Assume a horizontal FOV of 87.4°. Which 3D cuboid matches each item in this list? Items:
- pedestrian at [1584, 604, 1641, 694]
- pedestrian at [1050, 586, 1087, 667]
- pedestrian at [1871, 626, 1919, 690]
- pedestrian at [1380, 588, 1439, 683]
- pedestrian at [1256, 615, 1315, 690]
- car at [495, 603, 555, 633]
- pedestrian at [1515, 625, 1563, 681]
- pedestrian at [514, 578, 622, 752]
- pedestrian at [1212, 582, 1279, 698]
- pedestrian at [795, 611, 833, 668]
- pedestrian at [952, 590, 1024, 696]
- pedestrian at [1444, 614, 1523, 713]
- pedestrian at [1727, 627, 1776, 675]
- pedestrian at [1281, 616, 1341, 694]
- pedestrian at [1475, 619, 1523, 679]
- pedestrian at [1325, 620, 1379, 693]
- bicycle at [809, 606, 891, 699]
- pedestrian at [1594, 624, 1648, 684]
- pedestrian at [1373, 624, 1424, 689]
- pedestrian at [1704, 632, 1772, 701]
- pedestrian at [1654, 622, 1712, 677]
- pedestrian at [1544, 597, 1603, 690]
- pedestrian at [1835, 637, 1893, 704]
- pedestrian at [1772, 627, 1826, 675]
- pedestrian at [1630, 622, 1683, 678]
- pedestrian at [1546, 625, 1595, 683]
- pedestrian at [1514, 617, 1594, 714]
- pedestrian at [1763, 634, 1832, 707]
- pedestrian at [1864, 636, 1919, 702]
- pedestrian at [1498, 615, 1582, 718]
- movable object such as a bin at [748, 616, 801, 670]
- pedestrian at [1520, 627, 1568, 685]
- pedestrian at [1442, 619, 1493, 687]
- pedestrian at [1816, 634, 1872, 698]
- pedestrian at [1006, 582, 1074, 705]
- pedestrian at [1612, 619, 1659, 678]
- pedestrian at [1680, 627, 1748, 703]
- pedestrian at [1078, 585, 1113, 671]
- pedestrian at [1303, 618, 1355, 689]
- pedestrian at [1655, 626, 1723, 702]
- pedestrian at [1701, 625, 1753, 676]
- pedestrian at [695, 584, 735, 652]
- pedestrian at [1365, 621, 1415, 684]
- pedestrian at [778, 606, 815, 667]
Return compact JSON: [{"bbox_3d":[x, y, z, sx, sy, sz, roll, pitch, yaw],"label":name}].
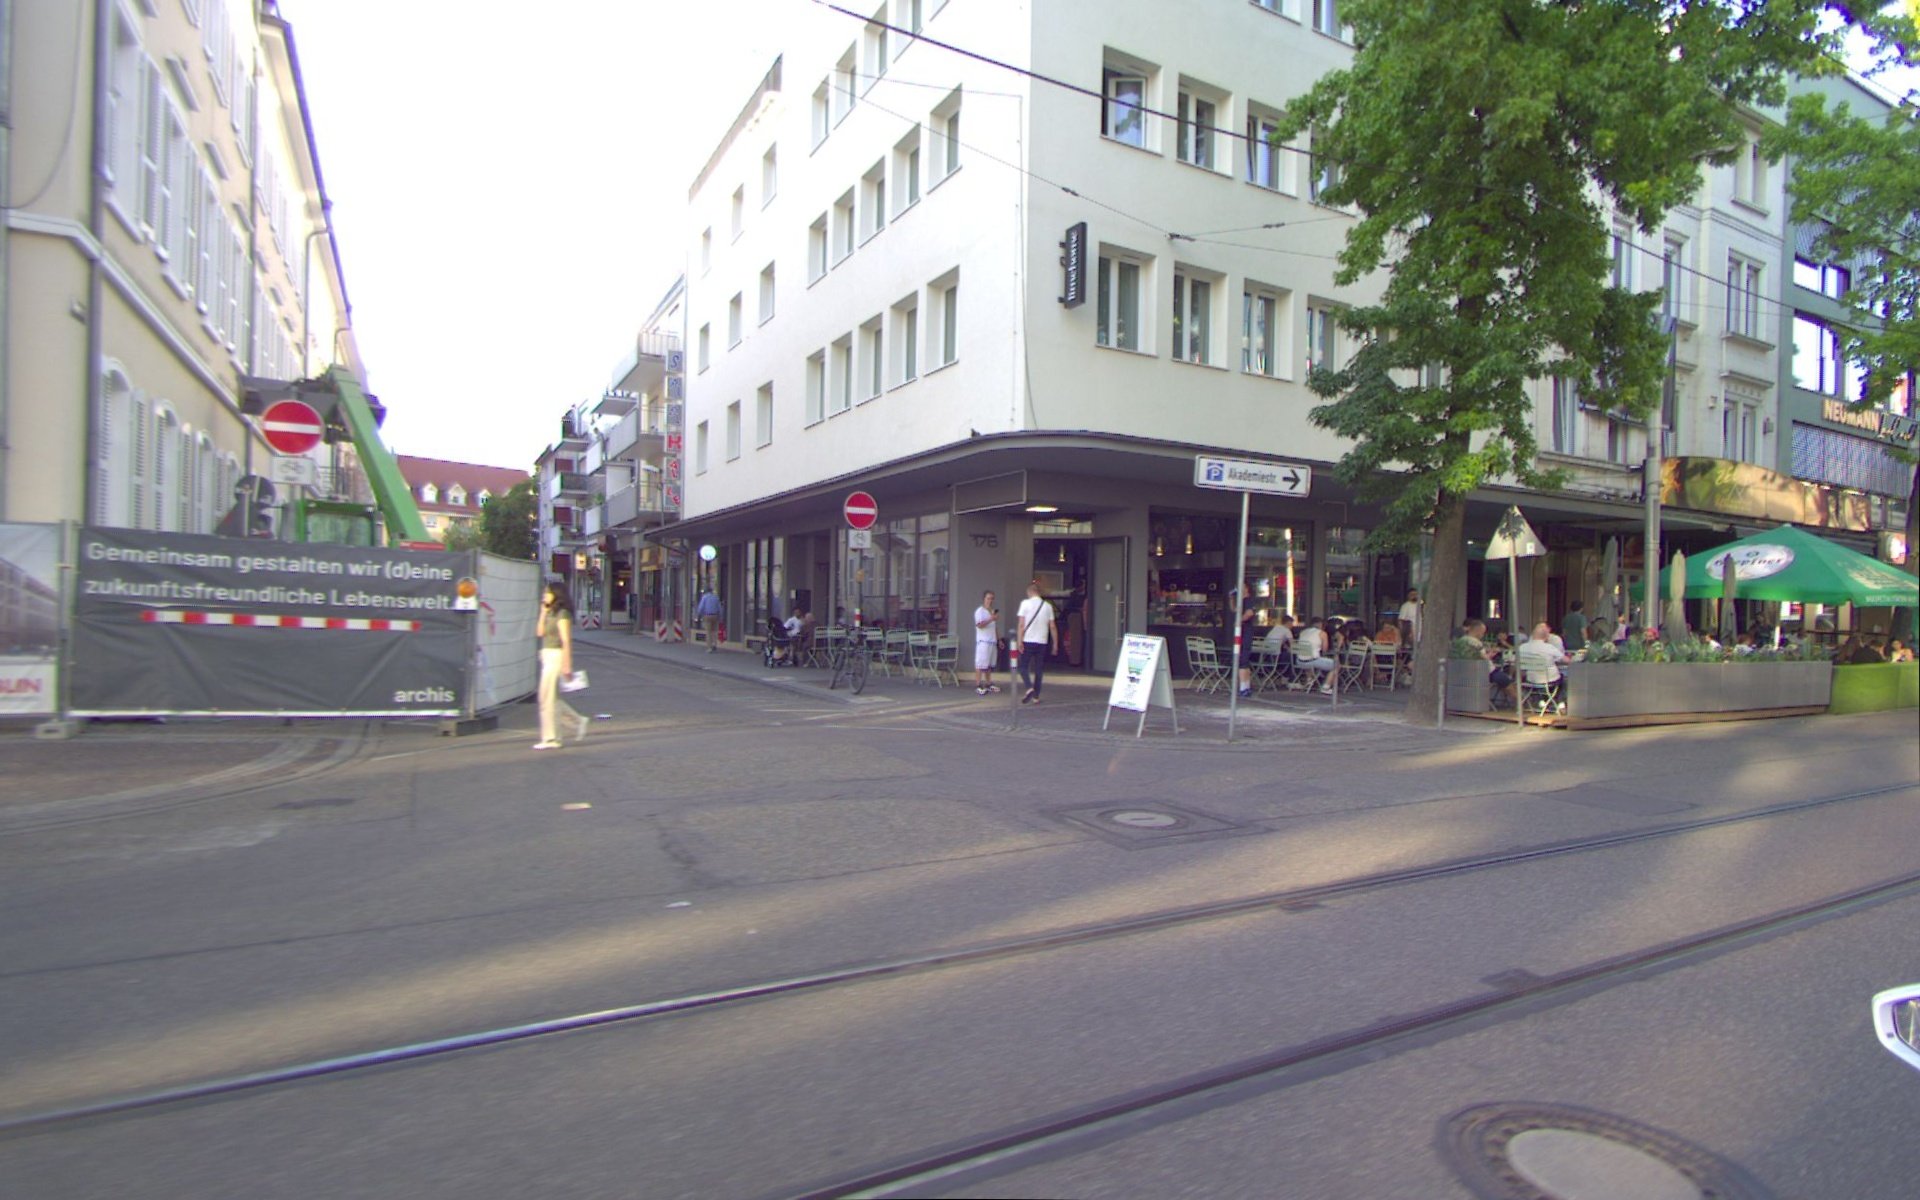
[{"bbox_3d":[12.667,0.935,19.504,0.689,1.693,0.616,1,2,-30],"label":"pedestrian"},{"bbox_3d":[2.215,0.528,20.517,0.492,1.625,0.619,1,0,35],"label":"pedestrian"},{"bbox_3d":[21.565,1.313,22.989,0.862,1.361,0.750,1,3,-30],"label":"pedestrian"},{"bbox_3d":[8.889,0.693,19.871,0.746,1.815,0.685,2,1,-14],"label":"pedestrian"},{"bbox_3d":[5.849,0.925,18.064,0.729,1.286,0.642,1,2,-29],"label":"pedestrian"},{"bbox_3d":[-21.206,0.851,48.911,1.980,1.372,3.961,2,0,-34],"label":"car"},{"bbox_3d":[12.760,1.159,22.144,0.678,1.173,0.599,1,2,-29],"label":"pedestrian"},{"bbox_3d":[-3.999,0.628,10.232,0.955,1.678,0.704,0,0,-28],"label":"pedestrian"},{"bbox_3d":[4.648,0.640,16.372,0.751,1.840,0.685,2,1,-14],"label":"pedestrian"},{"bbox_3d":[-3.258,0.866,22.356,0.611,1.218,0.687,-1,0,-31],"label":"pedestrian"},{"bbox_3d":[0.450,0.659,16.118,0.787,1.636,0.860,1,2,44],"label":"pedestrian"},{"bbox_3d":[7.887,0.940,15.142,0.797,1.405,0.686,1,2,-29],"label":"pedestrian"},{"bbox_3d":[20.612,1.316,26.149,0.779,1.184,0.696,1,3,-30],"label":"pedestrian"},{"bbox_3d":[6.096,0.944,17.447,0.719,1.299,0.624,1,2,-29],"label":"pedestrian"},{"bbox_3d":[10.977,0.988,20.456,0.678,1.177,0.550,1,2,-29],"label":"pedestrian"},{"bbox_3d":[6.994,0.997,17.928,0.678,1.252,0.550,1,2,-29],"label":"pedestrian"},{"bbox_3d":[-1.831,0.809,16.492,0.703,1.399,1.867,-2,1,-27],"label":"bicycle"},{"bbox_3d":[14.613,1.189,22.214,0.789,1.259,0.666,1,2,-30],"label":"pedestrian"},{"bbox_3d":[8.266,1.054,18.950,0.678,1.177,0.550,1,2,-29],"label":"pedestrian"},{"bbox_3d":[15.181,1.291,19.608,0.857,1.276,0.705,1,1,-27],"label":"pedestrian"},{"bbox_3d":[17.683,1.209,24.583,0.934,1.254,0.773,1,3,-30],"label":"pedestrian"},{"bbox_3d":[12.163,0.846,19.926,0.688,1.780,0.675,1,2,-28],"label":"pedestrian"},{"bbox_3d":[18.047,1.388,20.053,0.689,1.262,0.616,1,3,-30],"label":"pedestrian"},{"bbox_3d":[22.923,1.385,27.436,1.052,1.204,0.749,1,3,-30],"label":"pedestrian"},{"bbox_3d":[16.739,1.190,24.139,0.779,1.248,0.733,1,3,-30],"label":"pedestrian"},{"bbox_3d":[13.109,1.148,21.575,0.678,1.190,0.599,1,2,-29],"label":"pedestrian"},{"bbox_3d":[9.050,0.981,15.318,0.797,1.405,0.686,1,2,-29],"label":"pedestrian"},{"bbox_3d":[15.610,1.302,18.731,0.762,1.276,0.705,1,1,-27],"label":"pedestrian"},{"bbox_3d":[19.020,1.401,20.484,0.689,1.262,0.616,1,3,-30],"label":"pedestrian"},{"bbox_3d":[8.372,0.947,14.513,0.797,1.405,0.686,1,2,-29],"label":"pedestrian"},{"bbox_3d":[-4.131,0.929,22.349,0.846,1.129,1.108,-1,1,-31],"label":"movable object such as a bin"},{"bbox_3d":[12.206,1.162,20.991,0.678,1.177,0.550,1,2,-29],"label":"pedestrian"},{"bbox_3d":[10.242,1.054,20.289,0.678,1.316,0.599,1,2,-29],"label":"pedestrian"},{"bbox_3d":[18.558,1.380,21.092,0.689,1.262,0.616,1,3,-30],"label":"pedestrian"},{"bbox_3d":[1.167,0.629,14.837,0.850,1.764,0.797,0,0,-6],"label":"pedestrian"},{"bbox_3d":[15.899,1.140,23.641,0.689,1.327,0.616,1,3,-30],"label":"pedestrian"},{"bbox_3d":[14.122,1.205,18.823,0.771,1.365,0.705,1,1,-27],"label":"pedestrian"},{"bbox_3d":[2.571,0.529,19.139,0.608,1.625,0.405,1,0,4],"label":"pedestrian"},{"bbox_3d":[6.770,0.977,18.425,0.678,1.252,0.550,1,2,-29],"label":"pedestrian"},{"bbox_3d":[13.357,1.159,18.420,0.797,1.329,0.686,1,2,-29],"label":"pedestrian"},{"bbox_3d":[19.504,1.278,25.547,0.779,1.230,0.733,1,3,-30],"label":"pedestrian"},{"bbox_3d":[-6.983,0.511,28.626,0.920,1.879,0.812,1,0,-26],"label":"pedestrian"},{"bbox_3d":[8.311,1.004,19.411,0.678,1.177,0.550,1,2,-29],"label":"pedestrian"},{"bbox_3d":[-3.793,0.829,23.273,0.611,1.353,0.768,-1,1,-31],"label":"pedestrian"}]
